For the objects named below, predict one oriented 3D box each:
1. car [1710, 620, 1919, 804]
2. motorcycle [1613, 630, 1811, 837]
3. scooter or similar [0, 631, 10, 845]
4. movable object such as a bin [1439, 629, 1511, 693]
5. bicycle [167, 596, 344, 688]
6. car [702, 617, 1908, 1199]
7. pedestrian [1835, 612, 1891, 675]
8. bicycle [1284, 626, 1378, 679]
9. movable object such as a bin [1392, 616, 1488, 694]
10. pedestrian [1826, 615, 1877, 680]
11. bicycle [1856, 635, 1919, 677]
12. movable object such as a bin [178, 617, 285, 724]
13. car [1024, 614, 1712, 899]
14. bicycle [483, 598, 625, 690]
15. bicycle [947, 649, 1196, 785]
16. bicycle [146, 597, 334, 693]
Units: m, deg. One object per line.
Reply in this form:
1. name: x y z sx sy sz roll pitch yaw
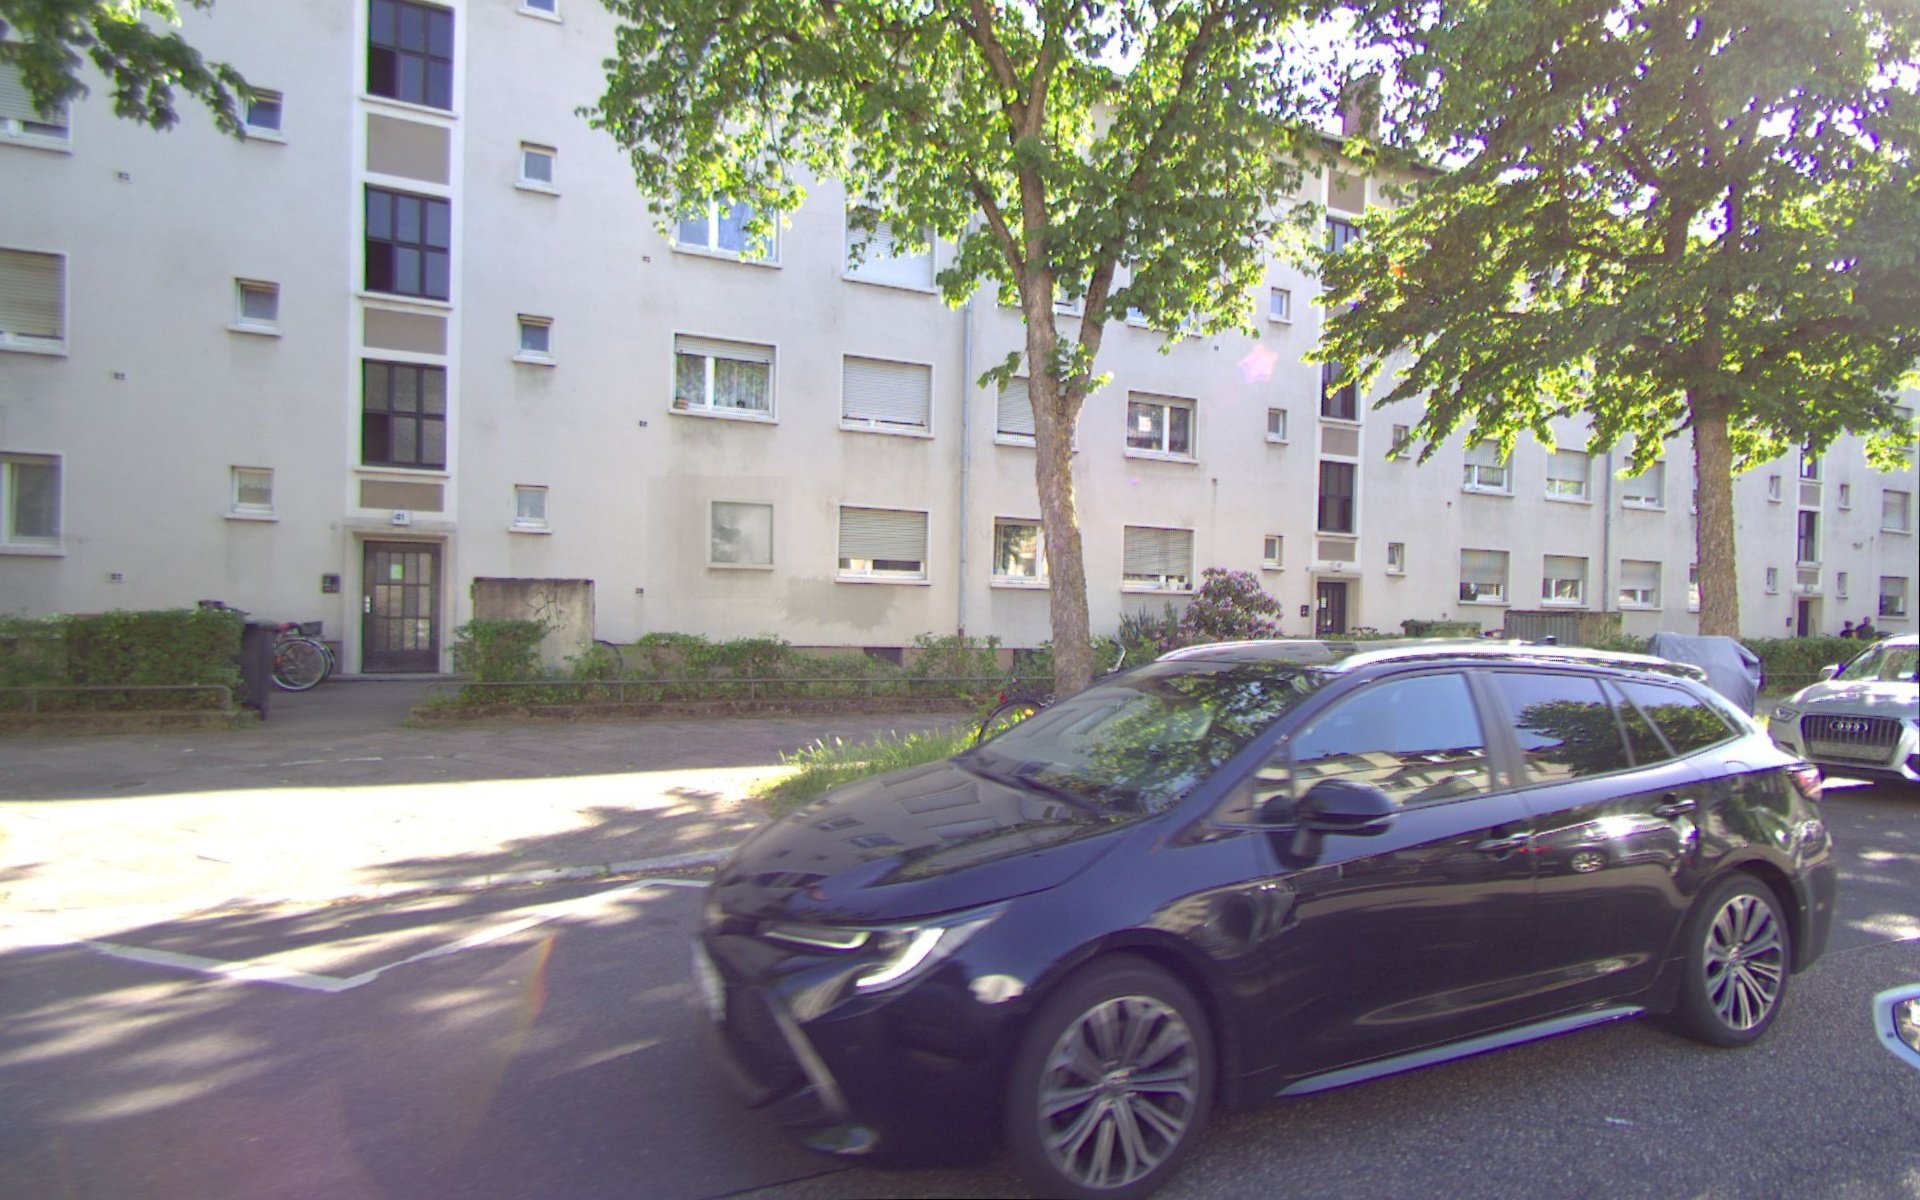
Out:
1. car: 10.056 1.022 10.211 4.661 1.544 2.056 1 0 -27
2. motorcycle: 6.421 1.036 8.736 0.971 1.523 2.231 0 -1 26
3. scooter or similar: -6.371 0.790 5.708 1.483 1.251 0.557 1 0 6
4. movable object such as a bin: 9.495 1.111 18.522 0.745 1.106 0.925 1 -1 -29
5. bicycle: -9.764 0.578 14.006 1.884 1.217 0.684 1 0 -22
6. car: 1.372 0.845 3.821 4.307 1.464 1.804 2 -2 -25
7. pedestrian: 28.120 1.354 31.283 1.011 1.913 0.931 1 0 -21
8. bicycle: 7.791 1.096 21.073 1.911 1.055 0.783 2 -1 -29
9. movable object such as a bin: 8.597 0.968 17.995 1.362 1.341 0.925 2 -1 -29
10. pedestrian: 27.198 1.427 30.660 0.861 1.939 0.783 1 -1 3
11. bicycle: 27.859 1.674 29.878 1.916 1.168 0.514 2 0 -1
12. movable object such as a bin: -7.724 0.728 10.682 0.749 1.082 0.692 1 0 -22
13. car: 2.939 0.890 7.284 4.540 1.544 2.038 1 -1 -23
14. bicycle: -5.944 0.641 14.752 1.888 1.306 0.397 1 0 -25
15. bicycle: 0.967 0.989 8.717 2.057 1.029 0.530 1 7 -19
16. bicycle: -9.507 0.590 13.348 1.884 1.217 0.684 1 0 -22
